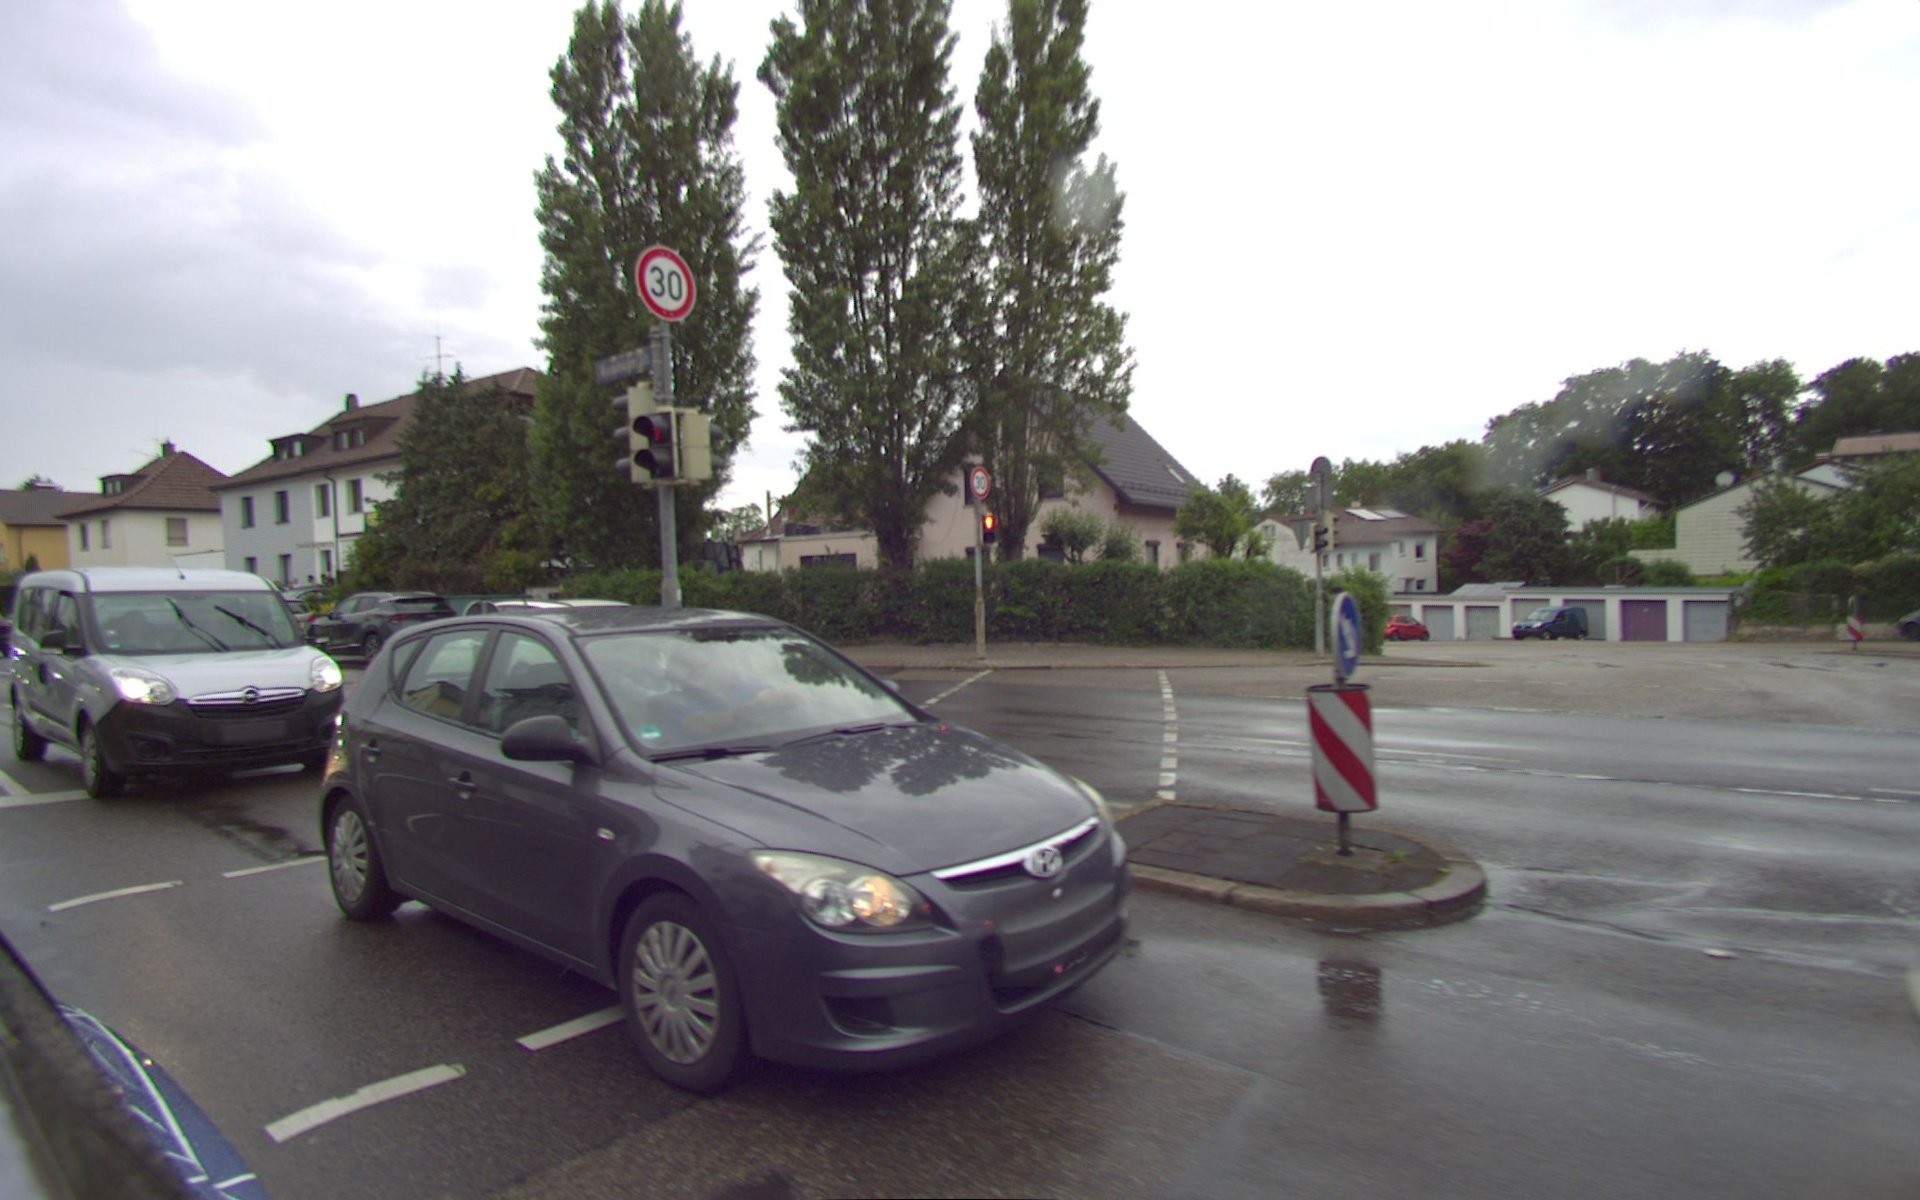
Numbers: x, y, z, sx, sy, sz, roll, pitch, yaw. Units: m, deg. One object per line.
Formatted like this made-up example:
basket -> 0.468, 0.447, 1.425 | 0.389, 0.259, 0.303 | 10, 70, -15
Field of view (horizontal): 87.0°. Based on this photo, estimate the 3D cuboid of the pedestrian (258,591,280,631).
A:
pedestrian -> -30.741, 0.495, 45.010 | 0.688, 1.765, 0.442 | -1, 4, 35

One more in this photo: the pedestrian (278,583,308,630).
pedestrian -> -27.748, 0.255, 42.104 | 0.686, 1.880, 0.725 | -1, 4, 40

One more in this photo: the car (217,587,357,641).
car -> -25.738, 0.515, 38.800 | 1.868, 1.575, 3.955 | -2, 5, 35

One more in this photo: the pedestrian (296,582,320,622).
pedestrian -> -28.425, 0.100, 44.110 | 0.574, 1.682, 0.578 | -1, 4, 32

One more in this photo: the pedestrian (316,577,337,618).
pedestrian -> -26.981, -0.111, 43.113 | 0.512, 1.682, 0.511 | -1, 4, 40

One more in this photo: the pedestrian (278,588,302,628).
pedestrian -> -29.855, 0.353, 45.102 | 0.560, 1.720, 0.582 | -1, 4, 32

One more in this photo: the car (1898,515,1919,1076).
car -> 4.122, 0.526, 0.825 | 4.639, 1.540, 1.893 | -1, 0, 34

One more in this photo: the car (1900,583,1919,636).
car -> 31.837, 0.263, 31.056 | 1.910, 1.717, 4.198 | -1, -1, -3

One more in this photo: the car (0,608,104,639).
car -> -47.538, 1.255, 52.741 | 1.831, 1.495, 4.074 | -2, -4, 27

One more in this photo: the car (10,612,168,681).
car -> -20.868, 1.076, 24.224 | 3.988, 1.475, 1.838 | -1, 0, 33

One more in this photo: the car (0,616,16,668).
car -> -30.049, 1.281, 30.408 | 3.991, 1.514, 1.697 | -1, 1, 35

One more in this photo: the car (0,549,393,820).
car -> -7.272, 0.610, 9.272 | 4.739, 1.885, 1.933 | -1, 0, 38

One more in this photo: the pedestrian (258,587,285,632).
pedestrian -> -28.581, 0.377, 41.996 | 0.539, 1.801, 0.662 | -1, 4, 38

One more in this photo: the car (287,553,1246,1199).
car -> -1.107, 0.648, 4.249 | 4.056, 1.498, 1.816 | -1, 1, 41

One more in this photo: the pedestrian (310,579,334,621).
pedestrian -> -26.507, 0.004, 42.052 | 0.664, 1.682, 0.693 | -5, 4, -26

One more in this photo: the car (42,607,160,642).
car -> -42.313, 1.199, 49.931 | 1.879, 1.430, 4.066 | -1, 2, 34

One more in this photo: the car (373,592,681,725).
car -> -6.144, 0.702, 14.119 | 4.761, 1.568, 1.819 | 0, 0, 37

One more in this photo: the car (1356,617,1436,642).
car -> 25.002, 1.680, 57.988 | 4.022, 1.298, 1.914 | -1, -1, -22

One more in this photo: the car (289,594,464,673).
car -> -13.860, 0.734, 23.962 | 4.587, 1.682, 1.789 | 0, 1, 35

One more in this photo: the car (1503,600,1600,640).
car -> 29.372, 0.983, 50.278 | 4.023, 1.863, 1.945 | -1, -1, -19
